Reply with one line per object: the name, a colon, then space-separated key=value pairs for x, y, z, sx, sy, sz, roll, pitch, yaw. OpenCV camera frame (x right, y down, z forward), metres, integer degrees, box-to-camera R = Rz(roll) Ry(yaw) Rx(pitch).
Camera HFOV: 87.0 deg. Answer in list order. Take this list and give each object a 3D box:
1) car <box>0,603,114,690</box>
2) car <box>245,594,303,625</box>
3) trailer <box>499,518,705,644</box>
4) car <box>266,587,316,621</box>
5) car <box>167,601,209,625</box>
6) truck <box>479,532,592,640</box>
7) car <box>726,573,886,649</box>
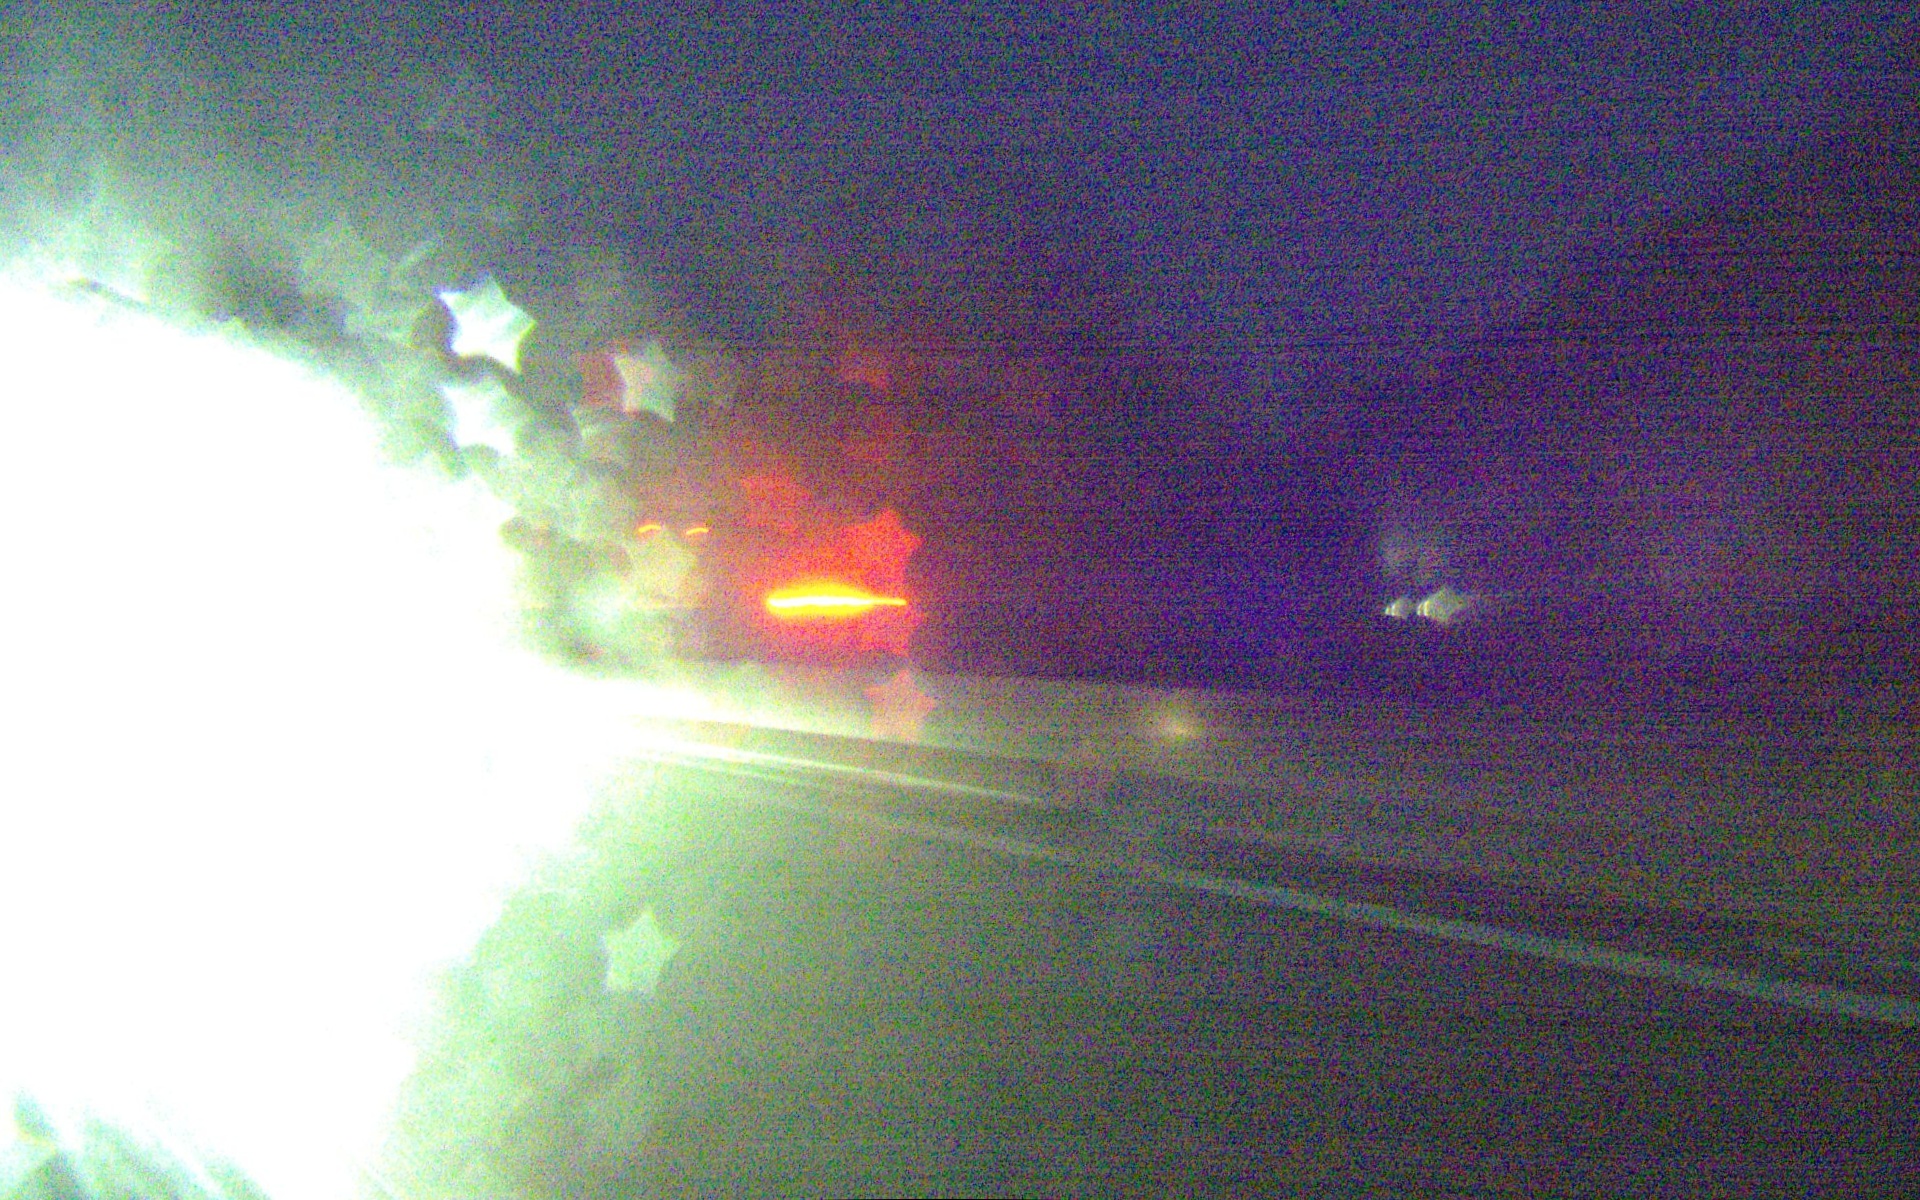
car: x=-22.526 y=1.051 z=24.845 sx=5.556 sy=1.898 sz=2.113 roll=-1 pitch=0 yaw=44
car: x=-41.088 y=0.582 z=60.585 sx=3.999 sy=1.772 sz=1.972 roll=-1 pitch=-1 yaw=42
trailer: x=-16.720 y=-0.705 z=46.178 sx=14.109 sy=5.013 sz=2.743 roll=-1 pitch=0 yaw=44
car: x=-49.969 y=0.318 z=75.548 sx=4.939 sy=2.459 sz=2.149 roll=-1 pitch=0 yaw=44
car: x=-53.945 y=0.913 z=70.669 sx=1.854 sy=1.639 sz=4.003 roll=0 pitch=-1 yaw=-44
truck: x=-21.274 y=-0.641 z=50.533 sx=6.717 sy=5.013 sz=2.743 roll=-1 pitch=0 yaw=44
car: x=-3.754 y=0.269 z=24.300 sx=3.863 sy=1.660 sz=1.761 roll=-1 pitch=-1 yaw=42
